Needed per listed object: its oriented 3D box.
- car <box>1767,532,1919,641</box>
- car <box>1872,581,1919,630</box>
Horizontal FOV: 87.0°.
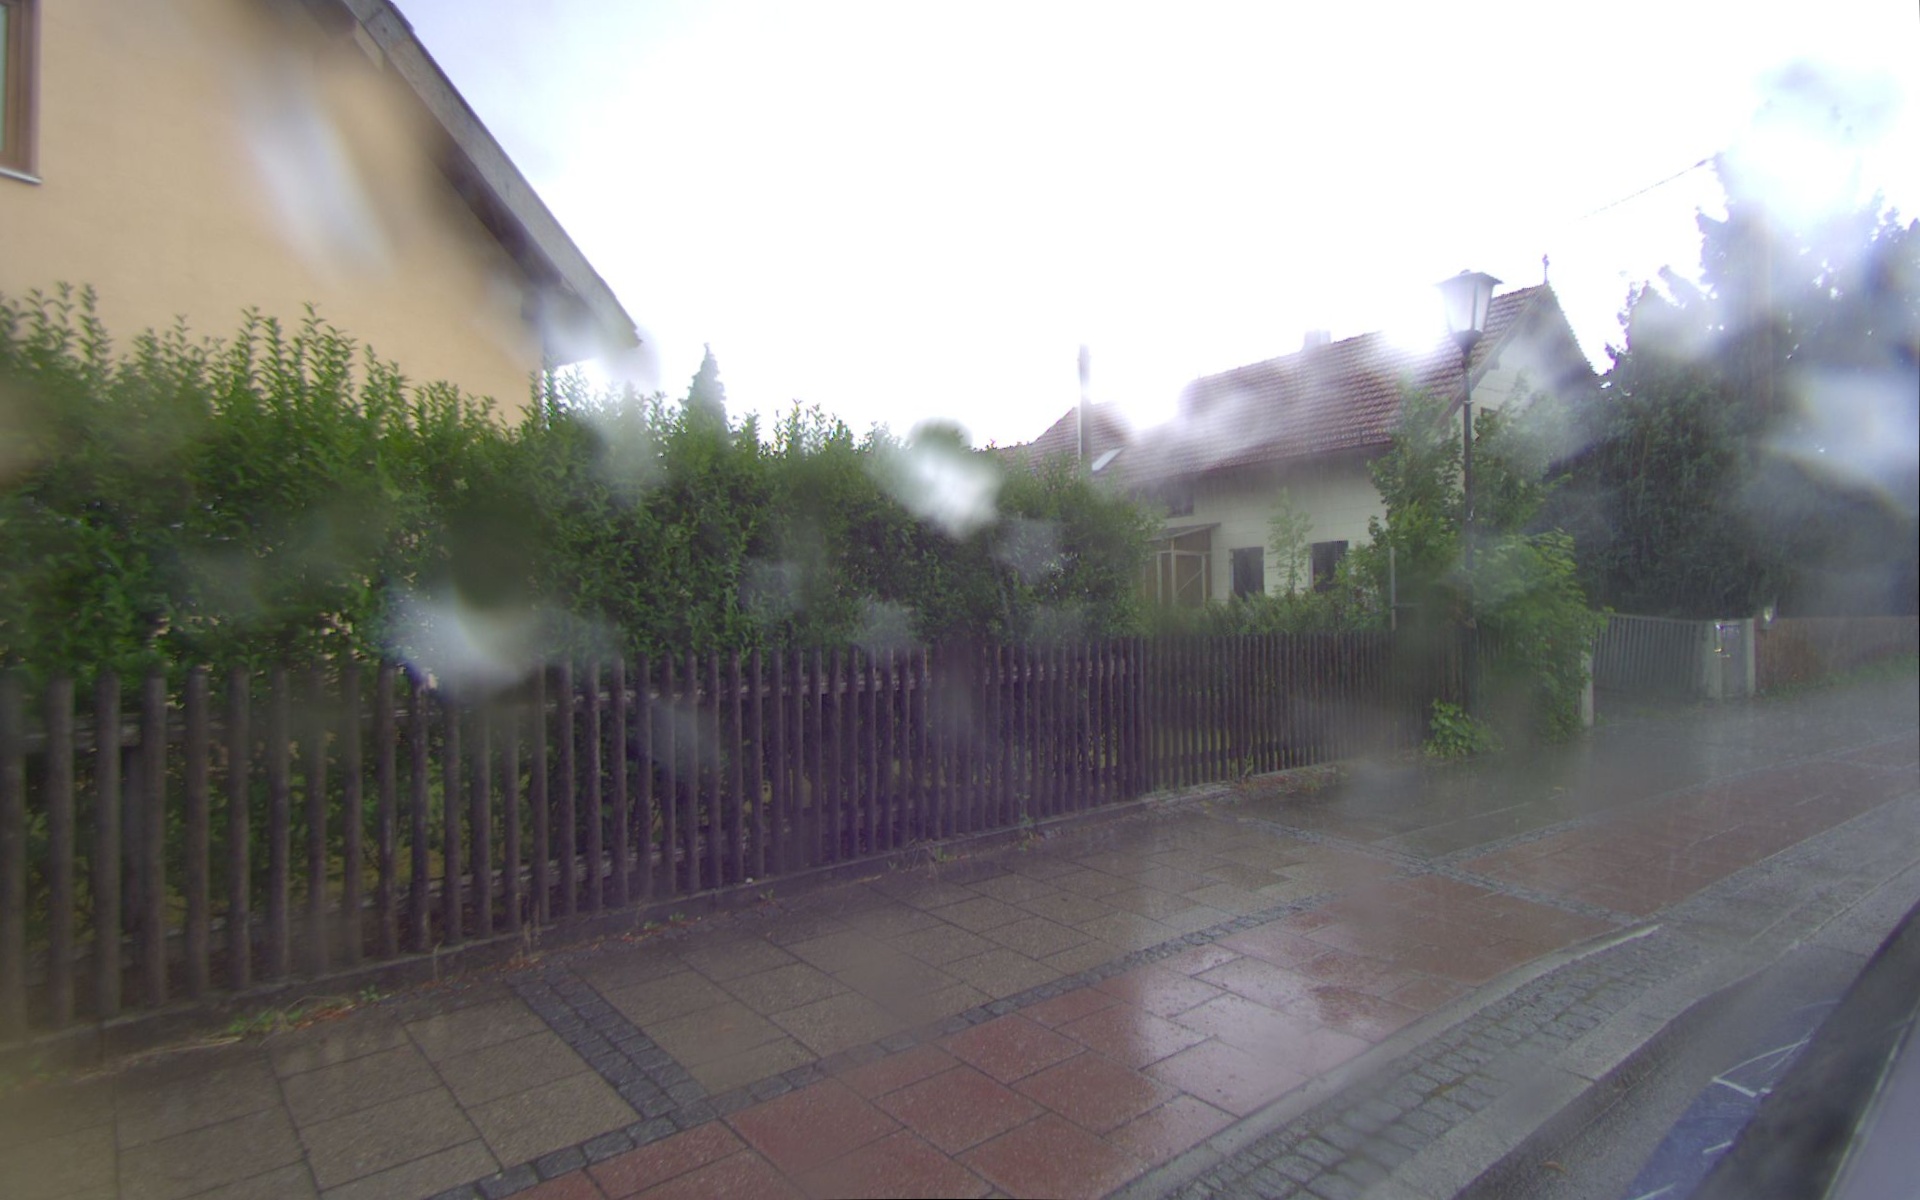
[{"bbox_3d":[24.772,-0.376,26.585,1.966,2.761,5.311,-1,2,-42],"label":"car"},{"bbox_3d":[30.281,0.218,30.135,1.799,1.438,4.438,-1,3,-41],"label":"car"}]
